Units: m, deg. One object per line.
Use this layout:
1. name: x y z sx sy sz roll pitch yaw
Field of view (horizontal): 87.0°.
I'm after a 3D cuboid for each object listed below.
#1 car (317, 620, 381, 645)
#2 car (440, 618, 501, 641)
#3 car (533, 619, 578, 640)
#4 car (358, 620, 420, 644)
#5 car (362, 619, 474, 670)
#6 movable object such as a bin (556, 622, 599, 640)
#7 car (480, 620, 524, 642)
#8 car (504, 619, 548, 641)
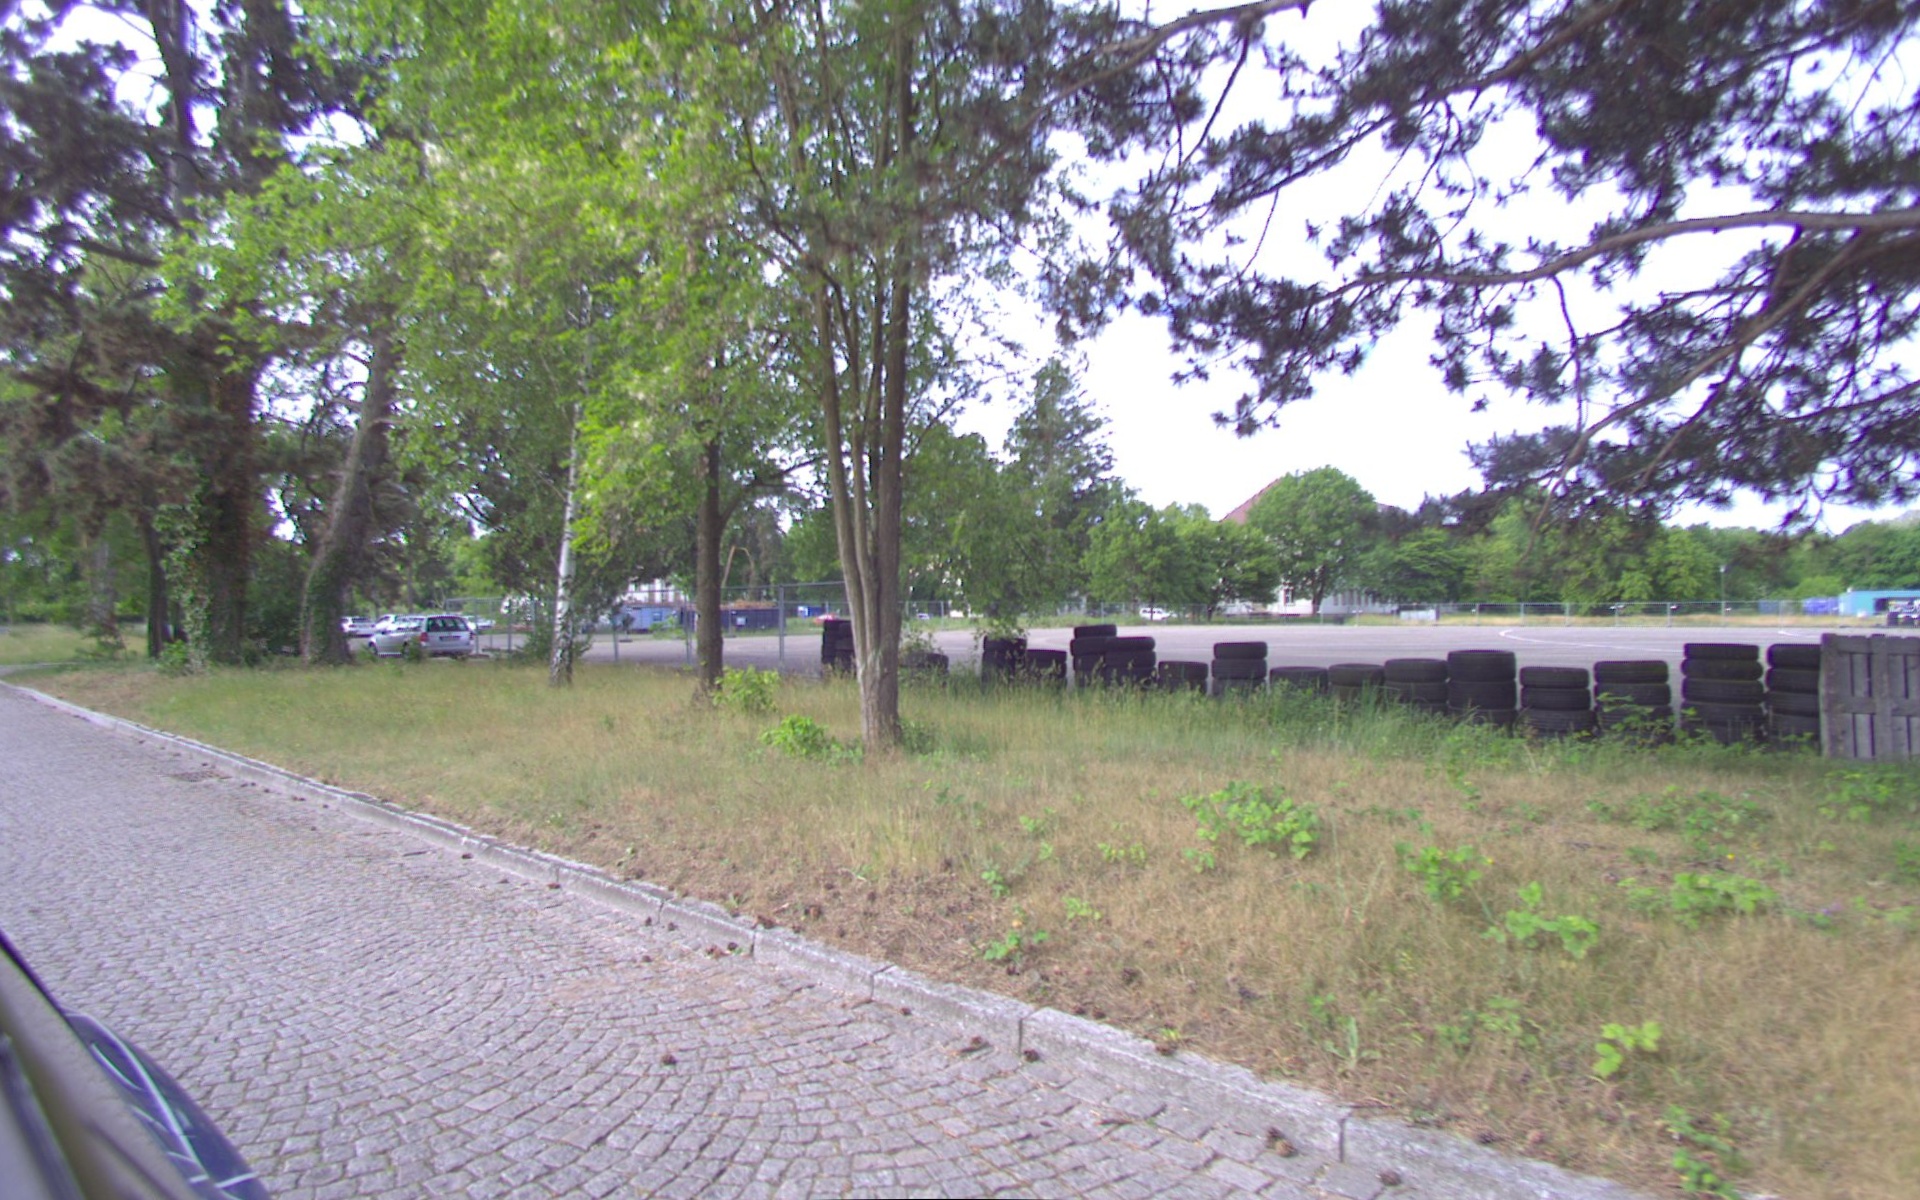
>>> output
1. car: -37.869 2.009 62.653 4.447 1.460 1.974 -1 -1 38
2. car: -33.562 2.007 69.349 4.447 1.460 1.974 -1 -1 38
3. car: -33.940 2.444 84.888 3.797 1.696 1.728 -1 -1 36
4. car: -36.613 2.009 64.846 4.447 1.460 1.974 -1 -1 38
5. car: -16.228 1.285 30.257 3.719 1.421 1.649 -1 -1 39
6. movable object such as a bin: -23.311 1.898 61.637 2.713 1.079 1.046 -1 -1 33
7. car: -36.757 2.449 81.168 3.797 1.696 1.592 -1 -1 36
8. car: -35.459 2.444 82.662 3.797 1.696 1.592 -1 -1 36
